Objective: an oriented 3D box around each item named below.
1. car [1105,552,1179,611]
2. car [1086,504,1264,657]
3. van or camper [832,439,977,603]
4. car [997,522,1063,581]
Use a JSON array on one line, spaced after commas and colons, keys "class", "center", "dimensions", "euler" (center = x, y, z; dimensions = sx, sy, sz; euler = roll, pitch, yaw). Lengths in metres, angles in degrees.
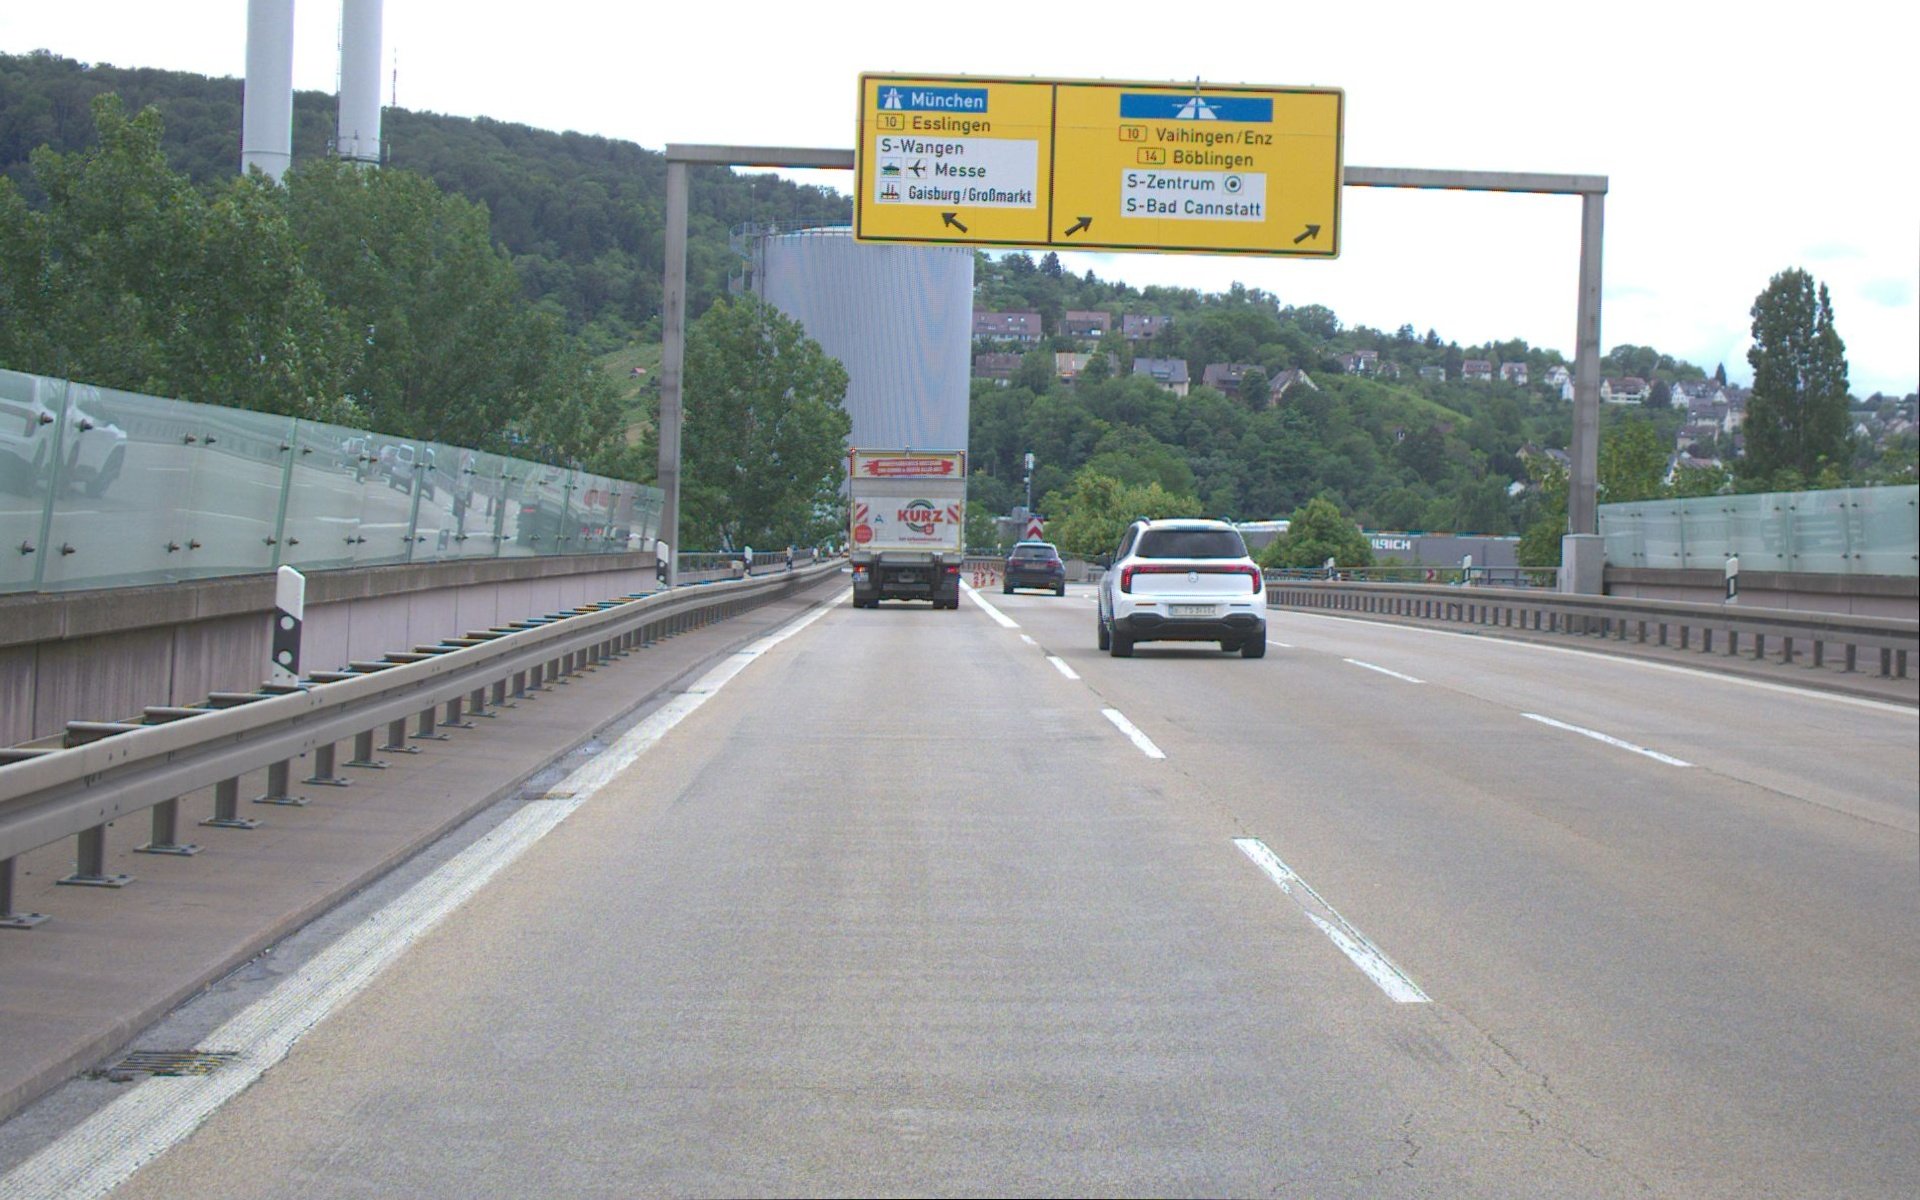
[{"class": "car", "center": [5.732, -0.596, 108.612], "dimensions": [1.923, 1.779, 4.114], "euler": [1, 1, -2]}, {"class": "car", "center": [2.609, -0.278, 42.549], "dimensions": [1.924, 1.779, 4.113], "euler": [1, 1, 0]}, {"class": "van or camper", "center": [-1.195, -1.787, 79.740], "dimensions": [3.122, 3.567, 8.550], "euler": [1, 1, 0]}, {"class": "car", "center": [2.151, -1.531, 106.739], "dimensions": [1.924, 1.779, 4.113], "euler": [1, 1, 0]}]
